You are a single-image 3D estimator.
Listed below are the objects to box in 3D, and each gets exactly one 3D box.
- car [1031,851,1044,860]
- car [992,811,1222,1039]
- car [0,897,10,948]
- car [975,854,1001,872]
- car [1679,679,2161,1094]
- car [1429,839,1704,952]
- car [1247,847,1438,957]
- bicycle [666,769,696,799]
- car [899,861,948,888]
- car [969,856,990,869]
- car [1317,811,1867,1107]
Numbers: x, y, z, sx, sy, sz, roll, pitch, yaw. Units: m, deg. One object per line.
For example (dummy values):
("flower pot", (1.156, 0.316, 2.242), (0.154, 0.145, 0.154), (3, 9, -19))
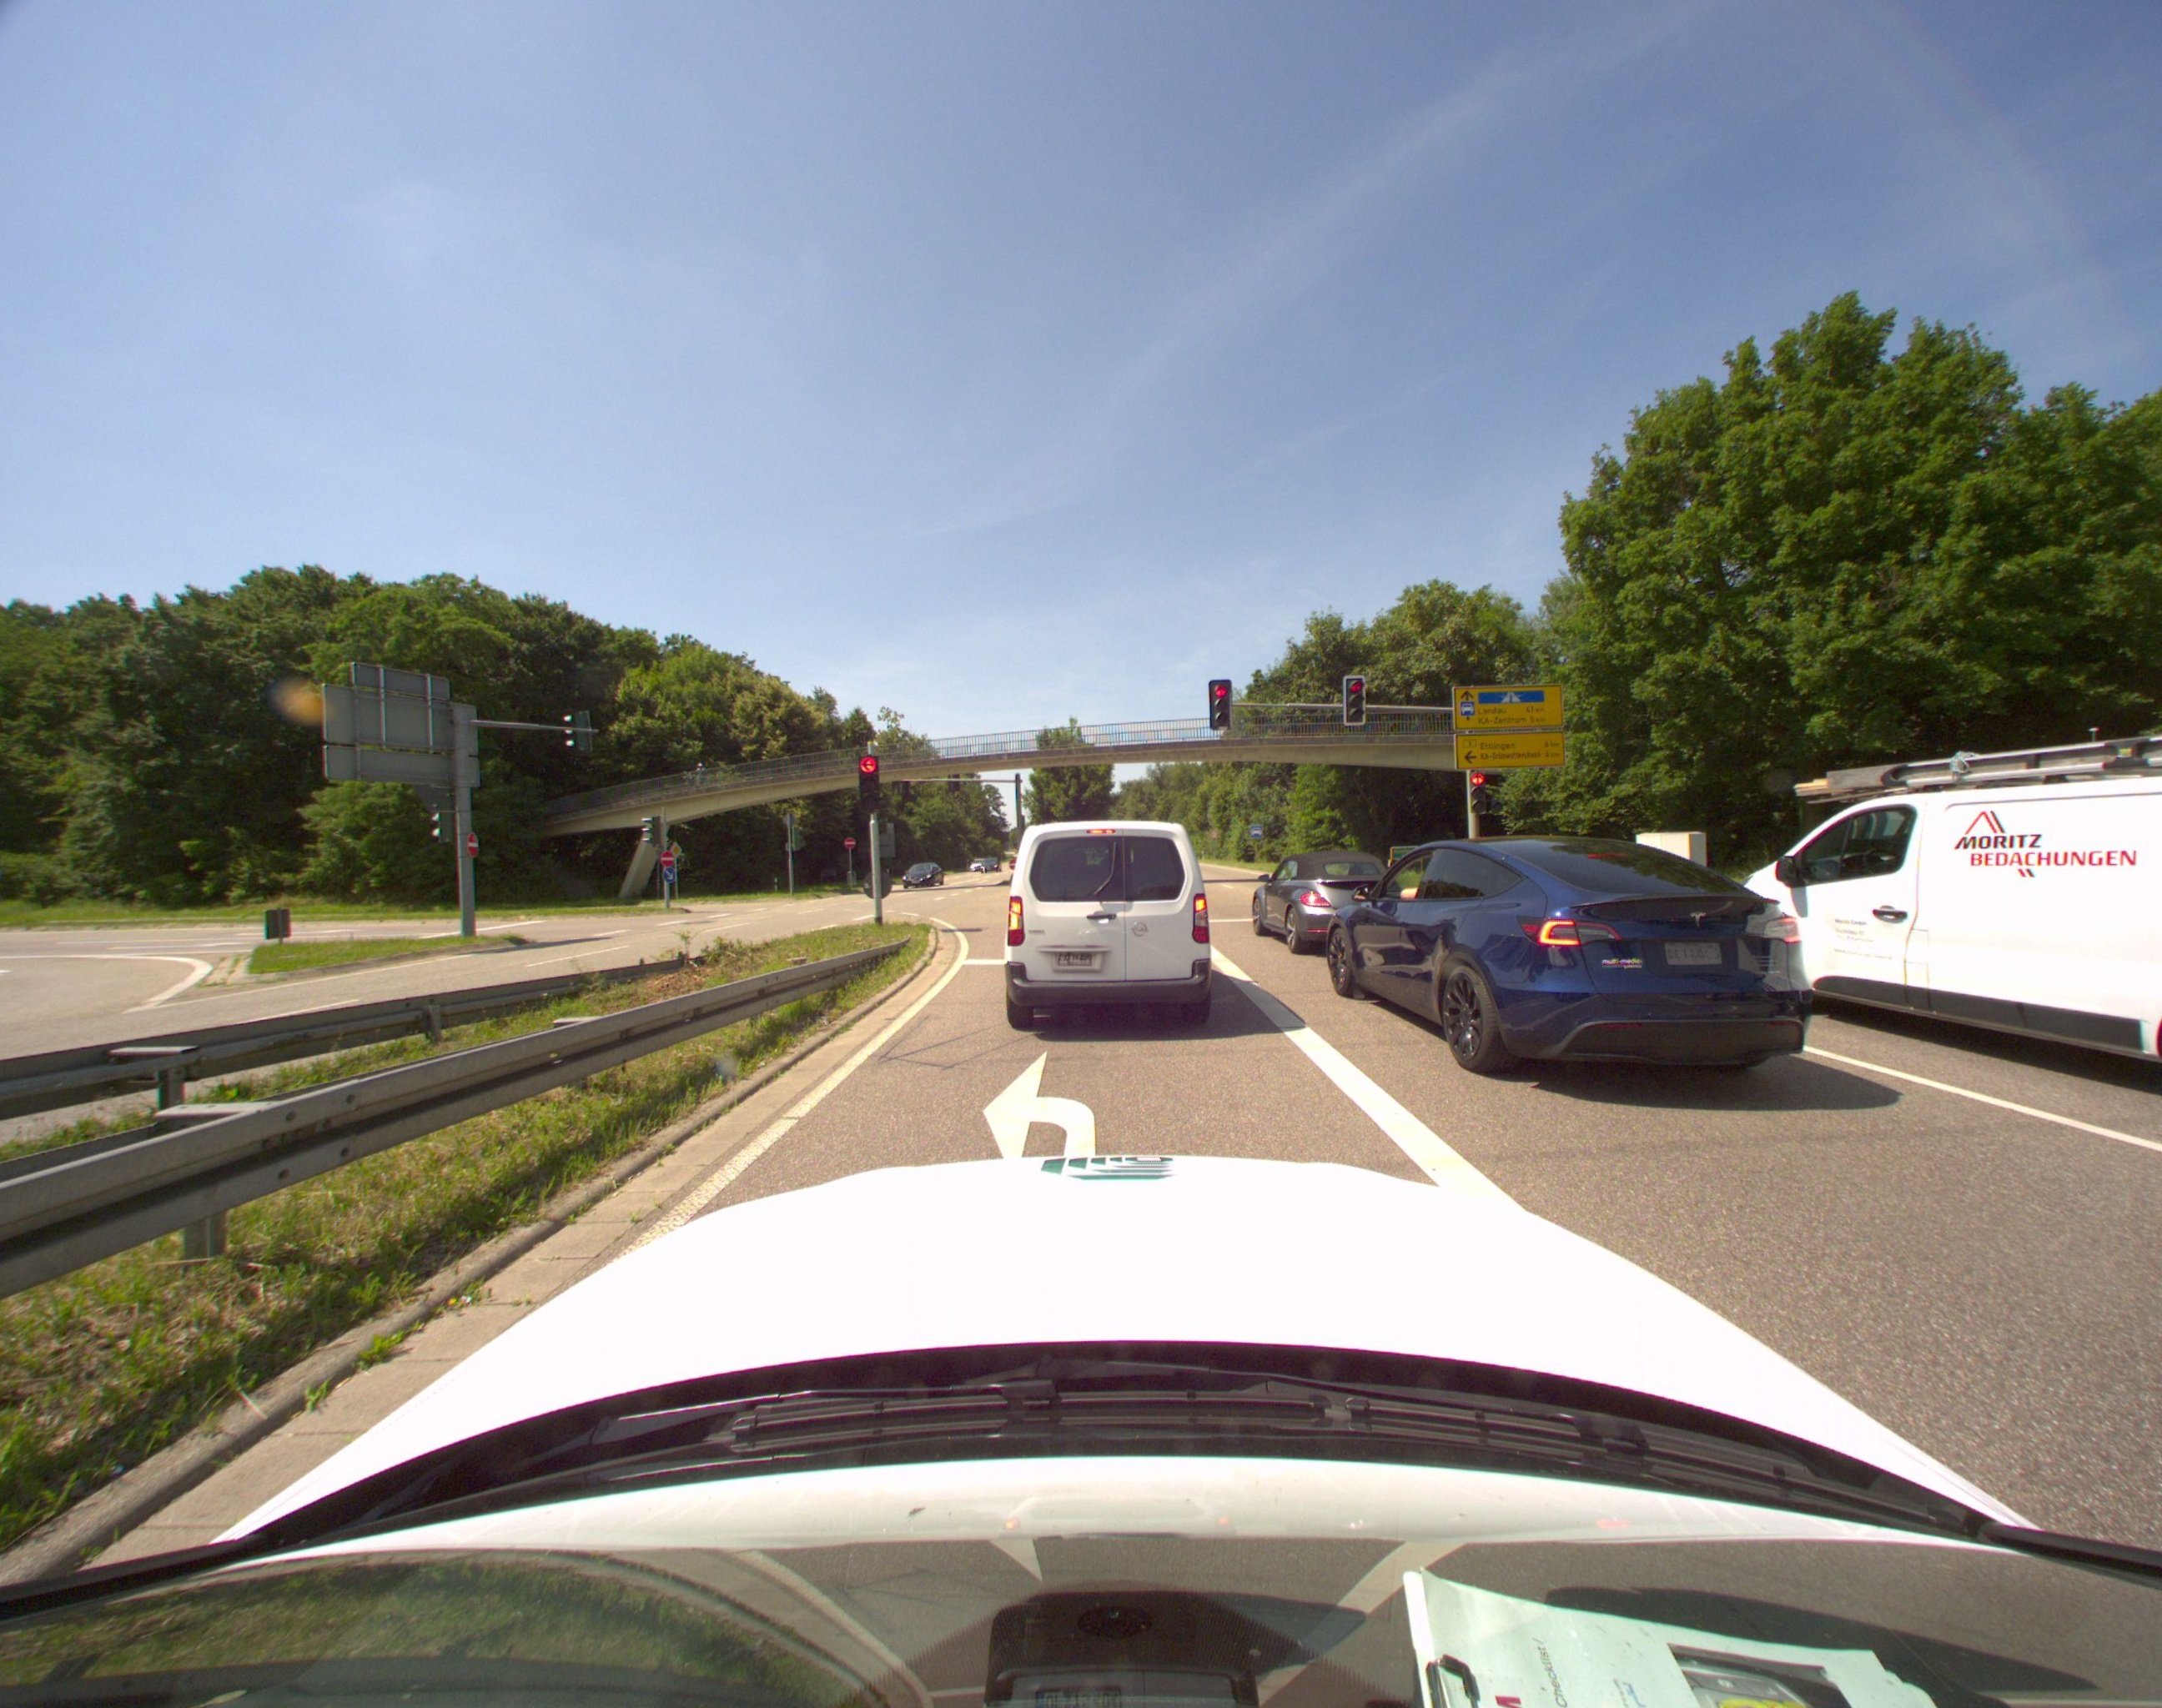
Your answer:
("car", (-8.231, 0.259, 153.460), (1.986, 1.665, 4.002), (-3, 0, 2))
("car", (0.244, 0.543, 8.575), (1.843, 1.825, 3.982), (-1, 1, 1))
("car", (-38.480, 2.441, 26.470), (5.042, 1.698, 2.054), (-3, 3, 7))
("car", (-9.442, 0.925, 82.971), (1.986, 1.665, 4.002), (-3, 0, 2))
("car", (7.111, 0.172, 5.894), (1.925, 2.349, 5.077), (-1, 0, 1))
("car", (7.377, 0.544, 13.000), (1.893, 1.478, 4.382), (-1, 0, 2))
("car", (3.948, 0.638, 13.027), (1.893, 1.478, 3.941), (-1, 0, 2))
("bicycle", (-22.132, -3.881, 45.007), (1.514, 1.474, 0.472), (-4, -2, 17))
("car", (-9.544, 1.207, 49.539), (2.001, 1.460, 4.057), (-3, 0, 2))
("car", (-11.850, 1.025, 95.439), (1.746, 1.406, 4.002), (-3, 0, 2))
("car", (3.515, 0.583, 6.830), (1.893, 1.644, 4.522), (-1, 0, 2))
